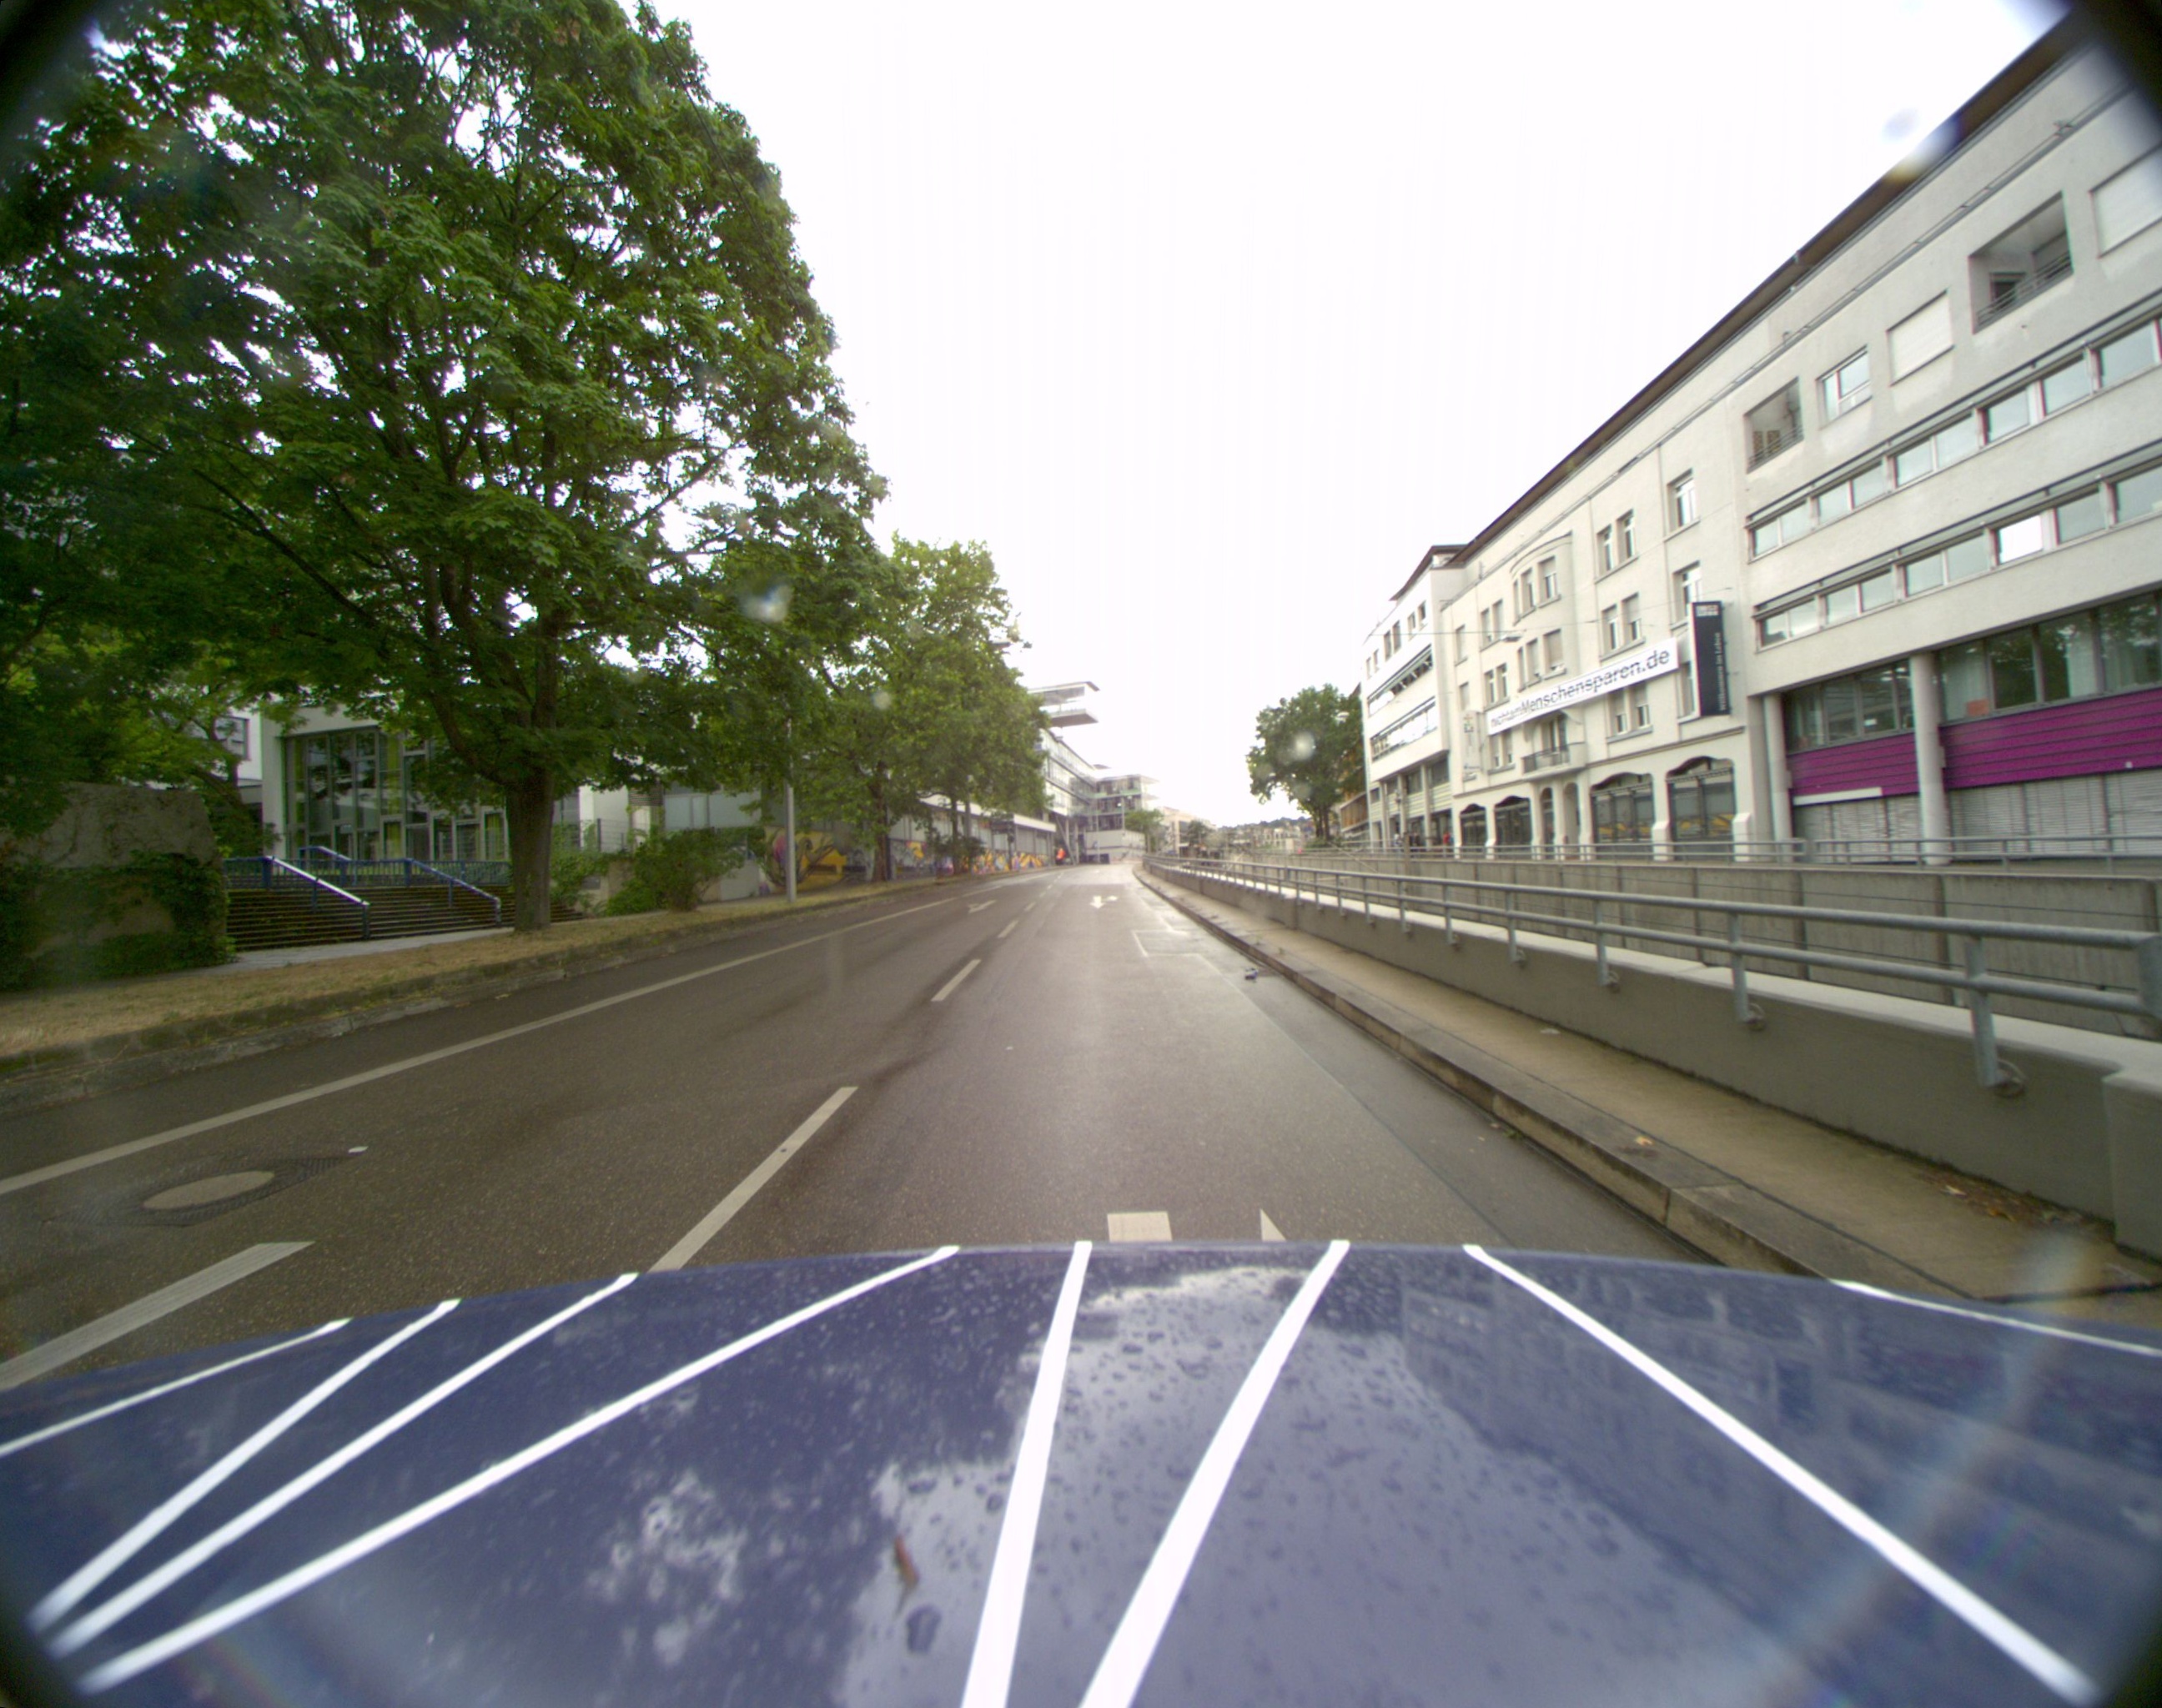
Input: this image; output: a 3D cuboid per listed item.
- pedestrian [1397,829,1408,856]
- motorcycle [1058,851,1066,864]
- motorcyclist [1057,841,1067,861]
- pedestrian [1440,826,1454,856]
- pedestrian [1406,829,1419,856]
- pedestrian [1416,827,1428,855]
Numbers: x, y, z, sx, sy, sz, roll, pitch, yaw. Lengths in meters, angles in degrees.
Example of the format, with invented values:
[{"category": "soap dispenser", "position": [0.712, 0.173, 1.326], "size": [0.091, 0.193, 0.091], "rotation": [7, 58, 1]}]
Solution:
[{"category": "pedestrian", "position": [21.738, -0.810, 51.431], "size": [0.469, 1.792, 0.548], "rotation": [-4, 1, 8]}, {"category": "motorcycle", "position": [-1.913, 0.329, 76.783], "size": [0.469, 1.218, 1.019], "rotation": [-4, 0, 9]}, {"category": "motorcyclist", "position": [-1.890, -0.298, 76.736], "size": [0.754, 2.002, 1.002], "rotation": [-4, 1, 9]}, {"category": "pedestrian", "position": [22.828, -0.800, 47.372], "size": [0.470, 1.792, 0.547], "rotation": [-4, 1, 0]}, {"category": "pedestrian", "position": [22.484, -0.781, 51.573], "size": [0.547, 1.792, 0.470], "rotation": [-4, 1, -7]}, {"category": "pedestrian", "position": [22.575, -0.856, 50.311], "size": [0.470, 1.792, 0.547], "rotation": [-4, 1, 3]}]
